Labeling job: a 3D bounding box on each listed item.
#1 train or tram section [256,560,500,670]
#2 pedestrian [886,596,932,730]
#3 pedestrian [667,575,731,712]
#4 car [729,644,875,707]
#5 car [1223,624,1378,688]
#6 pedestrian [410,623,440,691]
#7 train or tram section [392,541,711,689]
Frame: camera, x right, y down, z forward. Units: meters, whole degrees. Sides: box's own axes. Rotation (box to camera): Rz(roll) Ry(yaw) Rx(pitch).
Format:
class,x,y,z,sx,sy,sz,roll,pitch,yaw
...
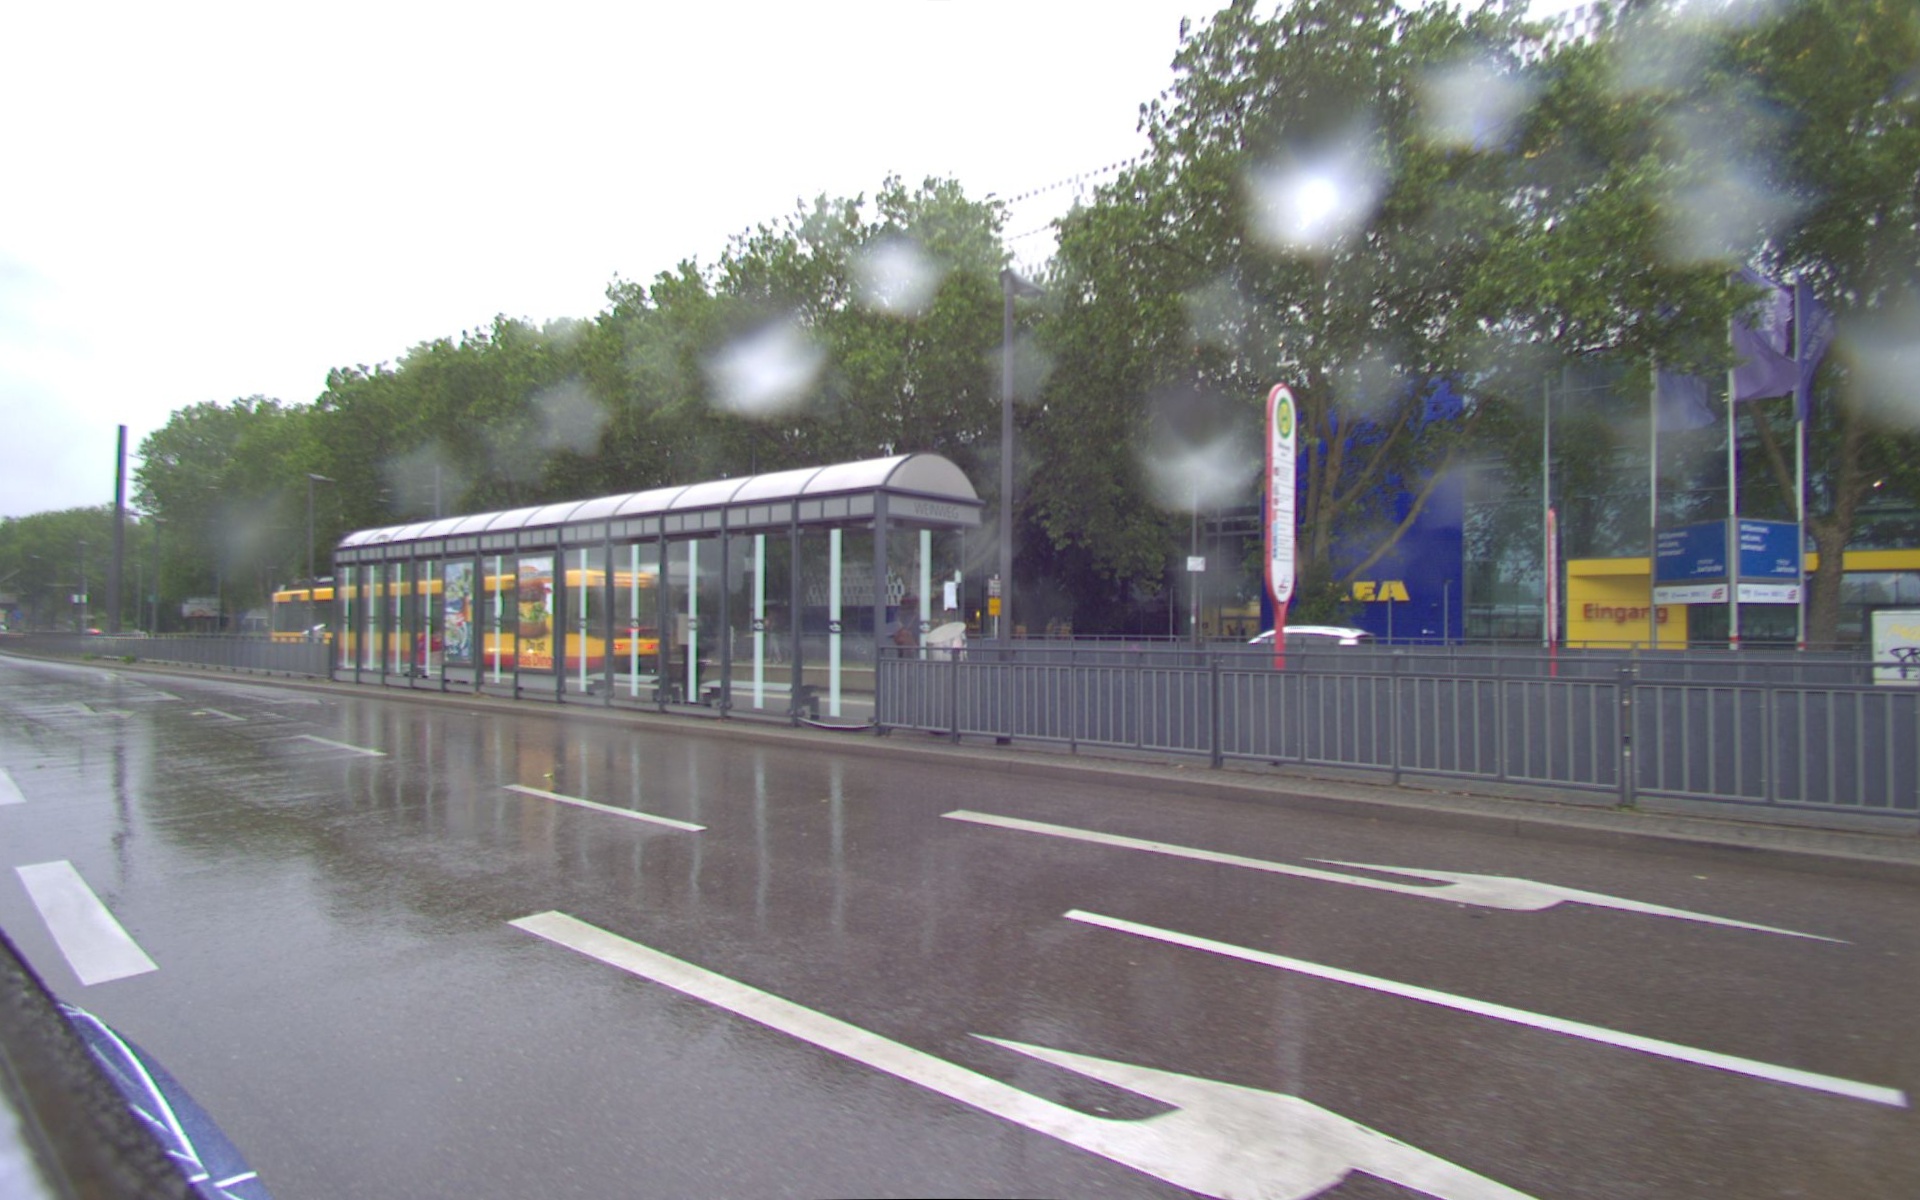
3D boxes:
class,x,y,z,sx,sy,sz,roll,pitch,yaw
train or tram section,-24.396,0.575,41.662,15.561,3.827,3.703,-1,0,40
pedestrian,-0.589,0.705,11.651,0.317,1.504,0.416,-2,1,-44
pedestrian,-3.727,0.595,14.438,0.646,1.885,0.774,-1,0,-33
car,-3.780,1.739,23.949,3.548,1.329,1.519,-1,-2,42
car,8.599,1.364,25.626,3.421,1.475,1.567,-1,0,35
pedestrian,-10.160,1.072,19.217,0.451,1.245,0.468,0,0,-35
train or tram section,-13.470,0.430,32.253,13.245,3.868,3.703,-1,0,40
